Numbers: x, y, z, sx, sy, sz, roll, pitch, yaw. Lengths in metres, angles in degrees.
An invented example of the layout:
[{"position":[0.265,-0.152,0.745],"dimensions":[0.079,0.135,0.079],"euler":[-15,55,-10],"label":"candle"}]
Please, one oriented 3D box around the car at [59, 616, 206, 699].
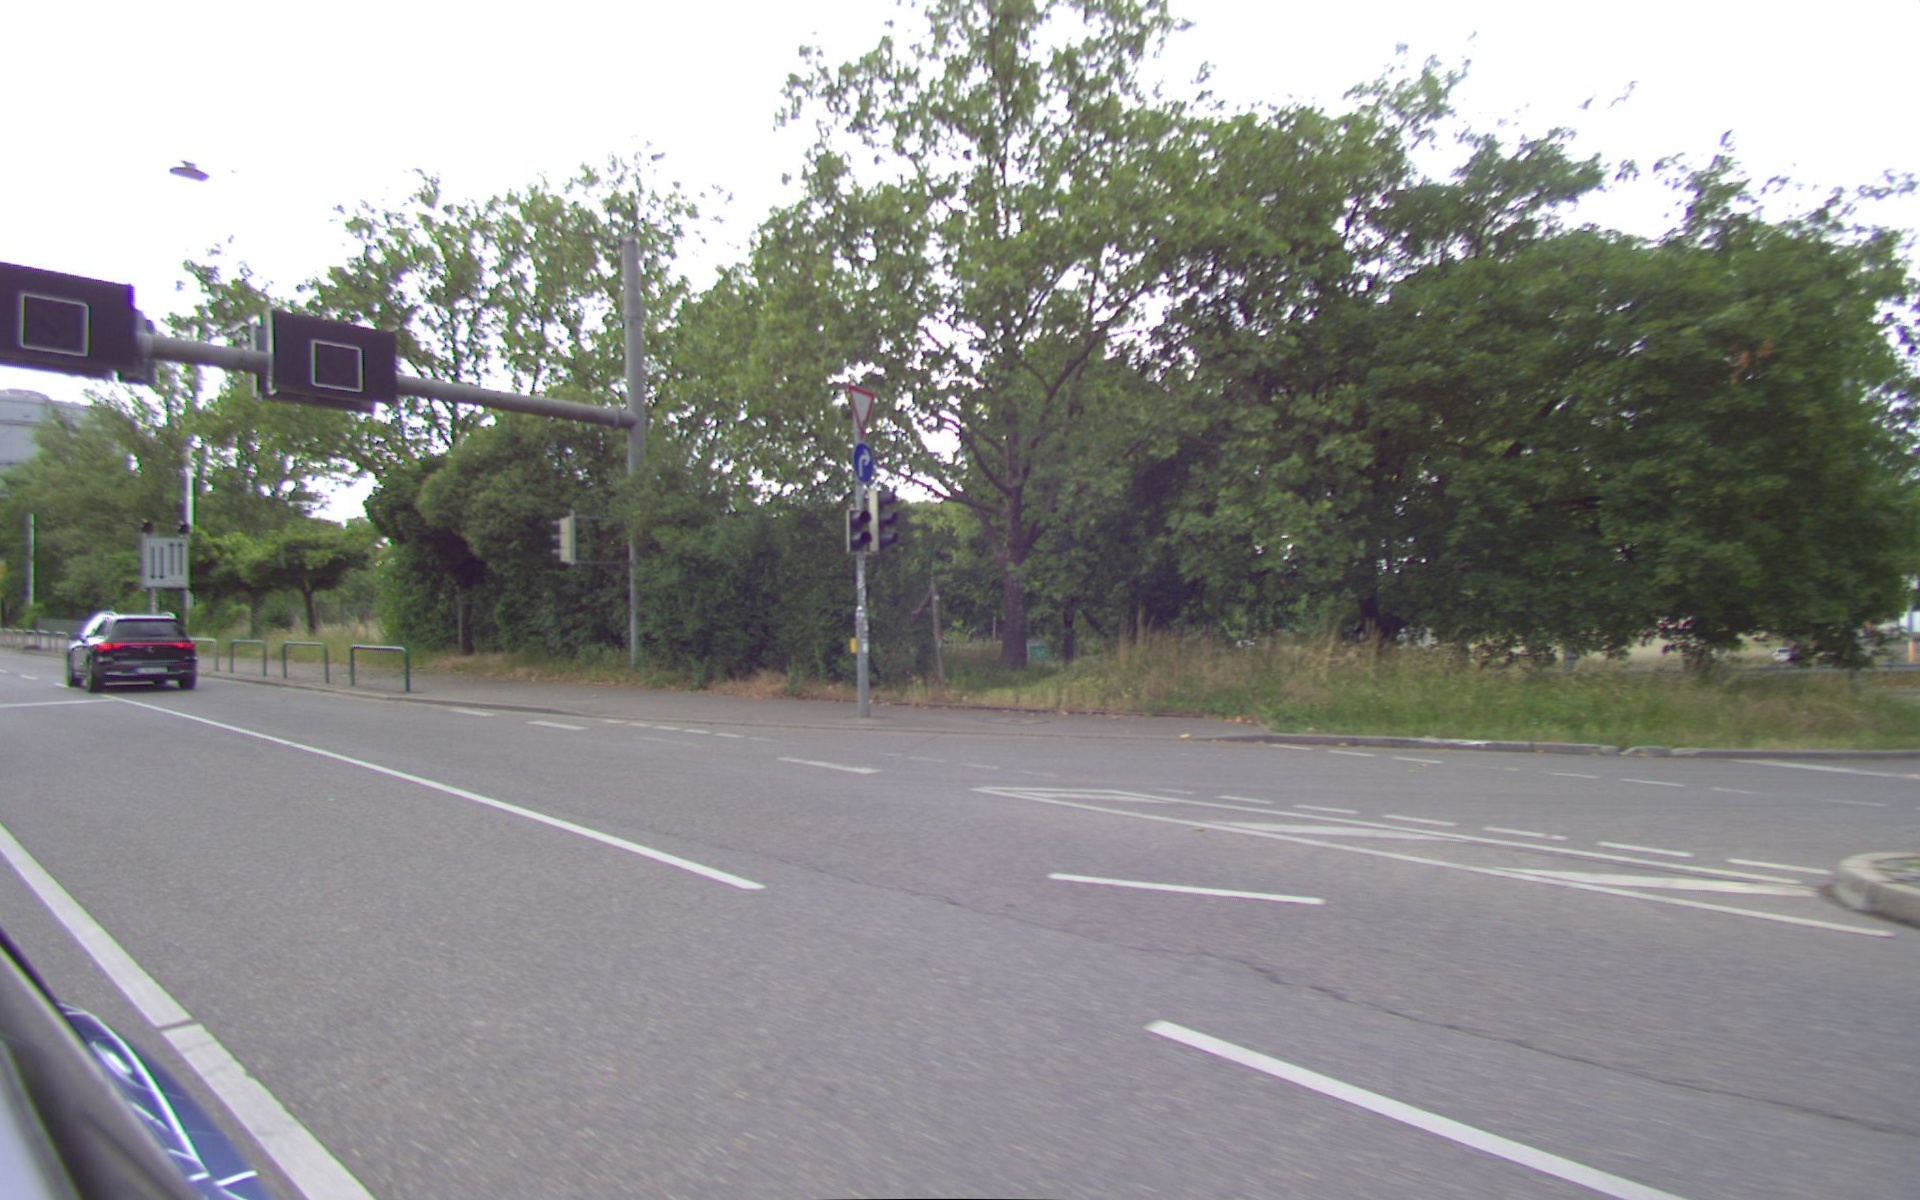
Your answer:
[{"position":[-18.475,1.219,22.532],"dimensions":[4.518,1.673,1.971],"euler":[-1,-3,44],"label":"car"}]
